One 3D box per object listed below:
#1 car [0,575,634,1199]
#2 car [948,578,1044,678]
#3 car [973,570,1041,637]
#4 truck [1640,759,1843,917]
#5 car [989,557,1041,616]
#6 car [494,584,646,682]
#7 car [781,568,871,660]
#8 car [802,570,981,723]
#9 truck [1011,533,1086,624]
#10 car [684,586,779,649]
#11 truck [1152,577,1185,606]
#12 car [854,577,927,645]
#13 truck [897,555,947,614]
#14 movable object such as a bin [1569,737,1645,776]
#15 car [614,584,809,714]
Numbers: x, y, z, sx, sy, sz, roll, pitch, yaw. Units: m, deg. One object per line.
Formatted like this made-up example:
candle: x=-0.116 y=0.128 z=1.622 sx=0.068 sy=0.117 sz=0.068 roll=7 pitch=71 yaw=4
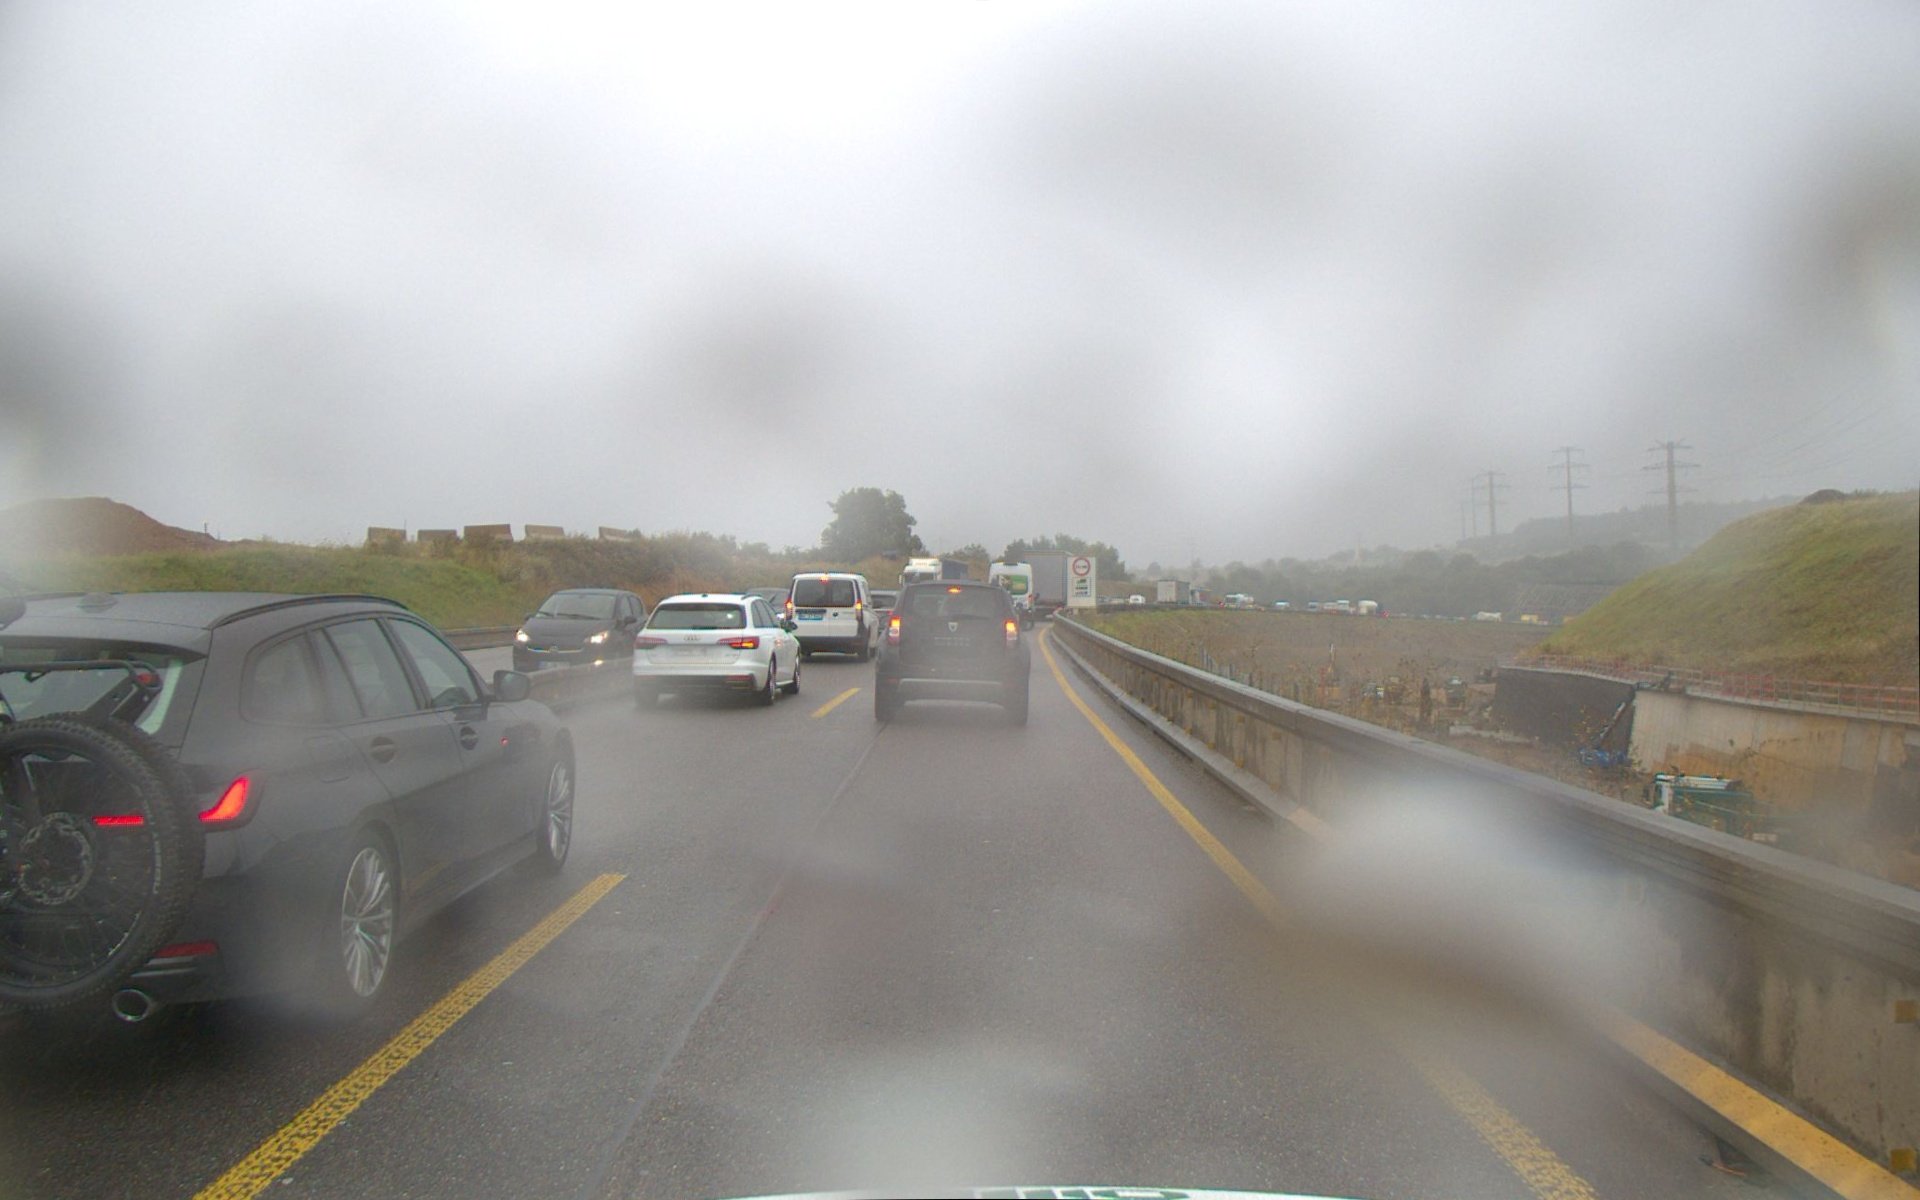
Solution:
car: x=-2.787 y=0.696 z=6.882 sx=1.699 sy=1.488 sz=5.630 roll=1 pitch=2 yaw=0
car: x=0.675 y=0.539 z=33.297 sx=1.789 sy=1.847 sz=3.999 roll=1 pitch=-1 yaw=0
car: x=1.440 y=0.115 z=48.902 sx=1.788 sy=1.847 sz=4.002 roll=1 pitch=-1 yaw=4
truck: x=23.661 y=7.062 z=50.673 sx=2.672 sy=3.552 sz=9.070 roll=1 pitch=-1 yaw=5
car: x=2.465 y=-0.552 z=73.125 sx=1.787 sy=2.480 sz=4.161 roll=1 pitch=-1 yaw=8
car: x=-6.420 y=0.499 z=27.590 sx=1.632 sy=1.491 sz=3.732 roll=1 pitch=0 yaw=0
car: x=-2.870 y=0.308 z=36.053 sx=1.790 sy=1.847 sz=3.997 roll=1 pitch=-1 yaw=-3
car: x=-0.719 y=0.524 z=20.026 sx=1.788 sy=1.619 sz=4.001 roll=1 pitch=-1 yaw=3
truck: x=5.504 y=-1.200 z=100.697 sx=3.468 sy=5.166 sz=10.449 roll=1 pitch=-1 yaw=8
car: x=-6.225 y=0.437 z=45.518 sx=1.879 sy=1.613 sz=4.895 roll=1 pitch=0 yaw=0
truck: x=27.797 y=-1.110 z=220.444 sx=3.398 sy=3.780 sz=8.424 roll=0 pitch=0 yaw=14
car: x=-1.987 y=0.328 z=48.273 sx=1.788 sy=1.847 sz=4.001 roll=1 pitch=-1 yaw=2
truck: x=-2.690 y=-1.142 z=119.704 sx=2.729 sy=4.105 sz=5.824 roll=1 pitch=1 yaw=6
movable object such as a bin: x=38.663 y=9.343 z=98.903 sx=1.977 sy=2.049 sz=3.793 roll=5 pitch=-4 yaw=-35
car: x=-3.179 y=0.607 z=21.967 sx=1.788 sy=1.525 sz=4.001 roll=1 pitch=-1 yaw=2
